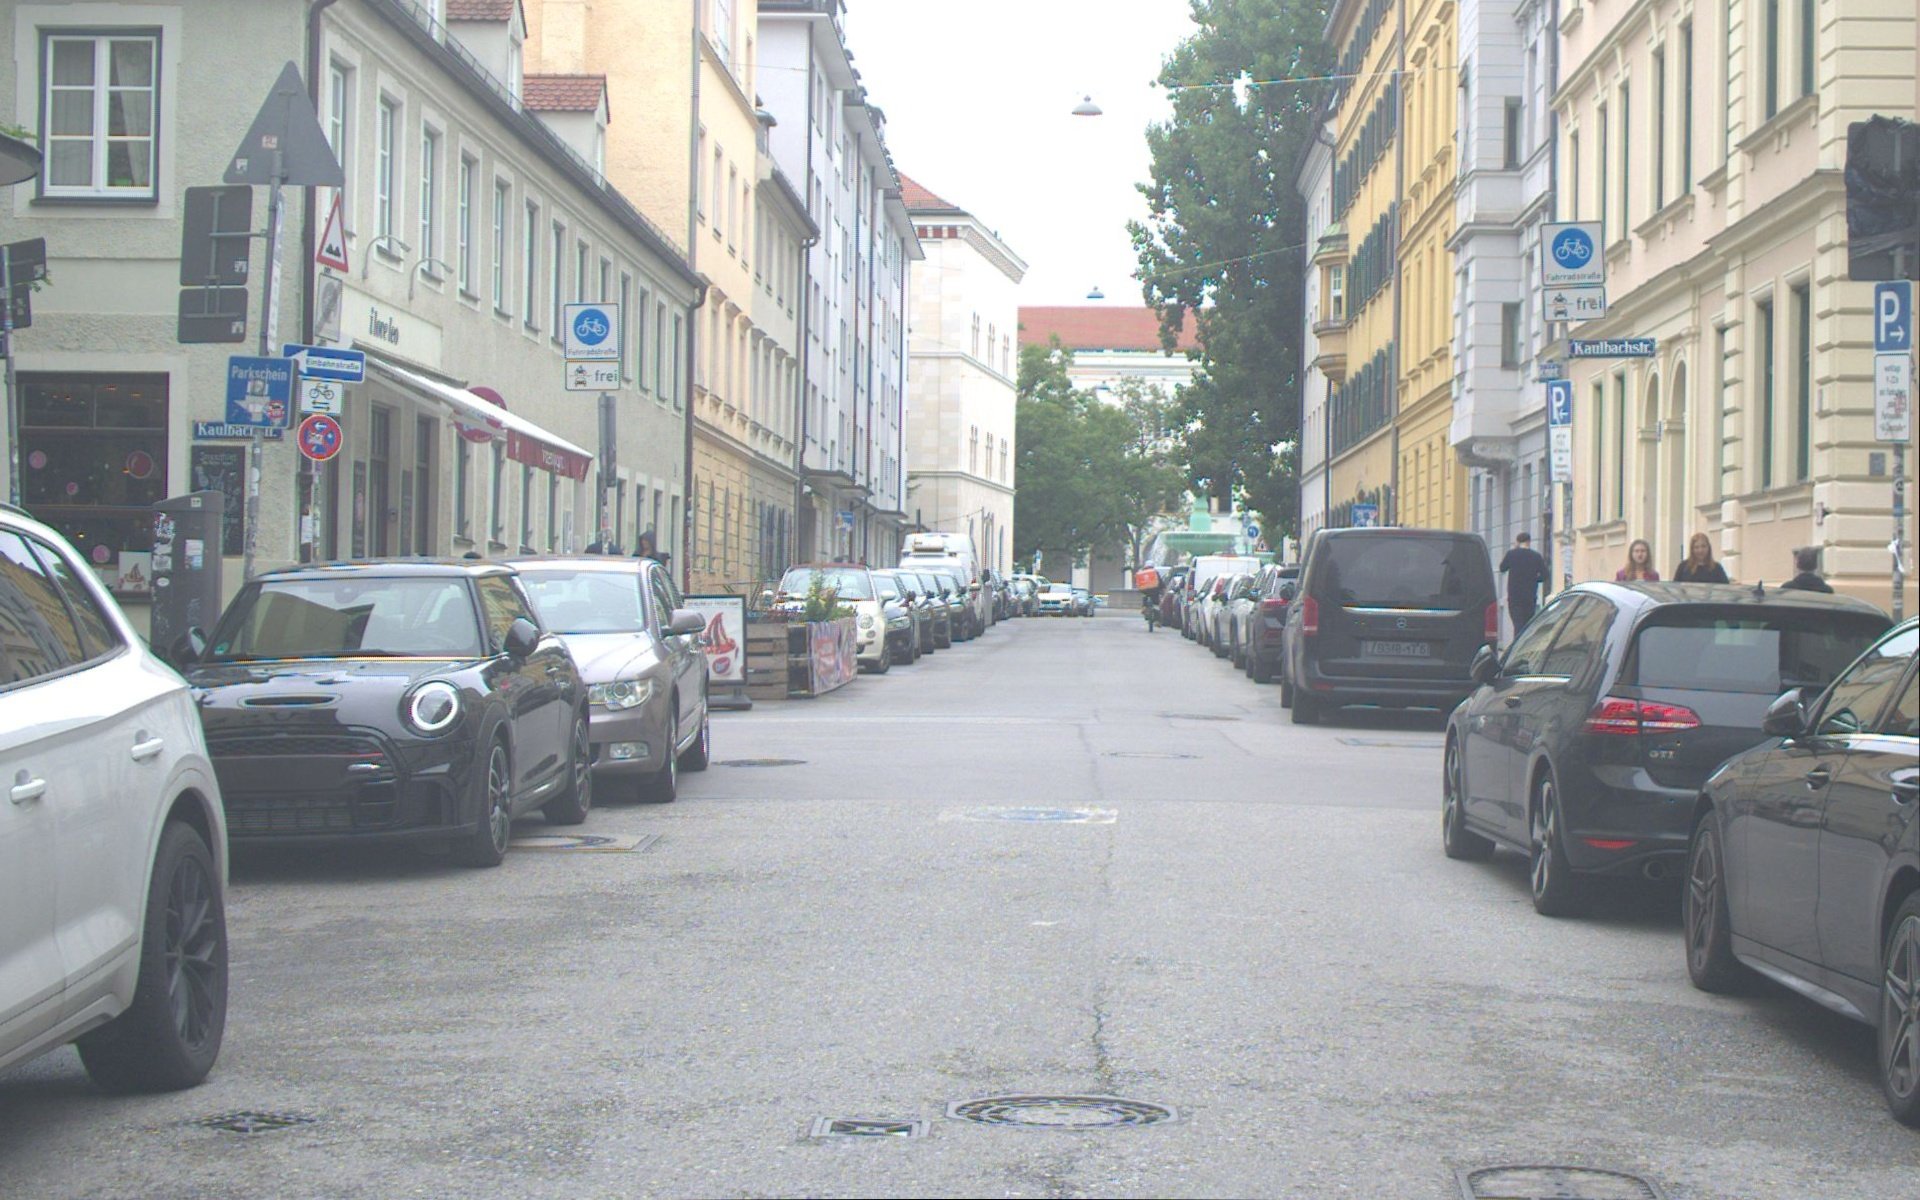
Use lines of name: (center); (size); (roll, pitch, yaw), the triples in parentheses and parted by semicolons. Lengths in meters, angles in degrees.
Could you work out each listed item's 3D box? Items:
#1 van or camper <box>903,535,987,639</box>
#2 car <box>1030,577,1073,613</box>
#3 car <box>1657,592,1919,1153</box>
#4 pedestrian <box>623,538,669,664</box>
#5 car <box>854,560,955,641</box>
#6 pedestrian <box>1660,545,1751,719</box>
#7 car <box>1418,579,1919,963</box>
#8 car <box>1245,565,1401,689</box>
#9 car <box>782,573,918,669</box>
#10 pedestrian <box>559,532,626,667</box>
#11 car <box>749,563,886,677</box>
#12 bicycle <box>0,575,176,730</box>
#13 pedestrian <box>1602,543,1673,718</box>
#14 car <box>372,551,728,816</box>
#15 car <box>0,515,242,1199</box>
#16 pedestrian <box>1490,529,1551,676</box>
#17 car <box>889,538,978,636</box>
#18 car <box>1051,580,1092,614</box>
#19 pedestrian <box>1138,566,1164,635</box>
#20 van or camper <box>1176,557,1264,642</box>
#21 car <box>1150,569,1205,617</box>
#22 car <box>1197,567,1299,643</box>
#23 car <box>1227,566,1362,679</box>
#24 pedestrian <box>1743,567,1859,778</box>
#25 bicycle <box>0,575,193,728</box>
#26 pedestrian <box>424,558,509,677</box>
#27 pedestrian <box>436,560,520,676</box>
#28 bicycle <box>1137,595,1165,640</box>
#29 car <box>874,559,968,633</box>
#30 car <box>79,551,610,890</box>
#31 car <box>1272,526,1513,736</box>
van or camper: (-0.317, -0.292, 79.005); (1.754, 2.273, 5.273); (1, 0, 1)
car: (4.145, -0.229, 155.162); (1.707, 1.576, 3.862); (0, 0, 5)
car: (3.396, 0.762, 10.396); (1.646, 1.420, 4.509); (3, 1, 1)
pedestrian: (-4.472, 0.027, 49.012); (0.528, 1.776, 0.877); (1, -1, 3)
car: (-1.045, -0.019, 63.745); (1.816, 1.437, 4.132); (0, 1, -1)
pedestrian: (7.030, 0.307, 32.438); (0.659, 1.615, 0.979); (1, -1, 1)
car: (3.282, 0.685, 15.969); (1.675, 1.420, 4.204); (3, 1, 0)
car: (4.733, 0.334, 45.252); (1.755, 1.516, 4.274); (1, 0, 3)
car: (-1.642, 0.290, 52.690); (1.798, 1.335, 4.685); (1, 1, 1)
pedestrian: (-5.206, -0.005, 48.784); (0.822, 1.891, 0.827); (1, -1, 1)
car: (-1.933, 0.251, 47.601); (1.754, 1.470, 3.714); (2, 0, -1)
bicycle: (-6.594, 0.357, 24.676); (1.818, 1.031, 0.392); (3, 1, 5)
pedestrian: (6.396, 0.292, 32.473); (0.472, 1.619, 1.069); (1, -1, 1)
car: (-2.458, 0.440, 21.688); (1.679, 1.466, 4.950); (0, 1, 0)
car: (-3.030, 0.623, 7.592); (1.803, 1.578, 4.338); (-1, 2, 2)
pedestrian: (7.693, 0.039, 47.197); (0.669, 1.974, 0.708); (-2, -1, 3)
car: (-0.587, -0.275, 73.608); (1.754, 1.988, 4.626); (1, 0, -2)
car: (5.230, -0.126, 161.251); (1.707, 1.576, 3.862); (0, 0, 5)
pedestrian: (4.736, 0.018, 85.300); (0.642, 1.708, 0.842); (1, -1, 3)
van or camper: (5.947, -0.023, 79.048); (1.834, 1.865, 5.078); (1, 0, 2)
car: (7.558, -0.239, 119.690); (1.812, 1.609, 4.155); (1, 0, 3)
car: (5.780, 0.093, 69.333); (1.708, 1.449, 4.096); (1, 0, 0)
car: (4.935, 0.310, 51.160); (1.743, 1.578, 4.466); (1, 0, 3)
pedestrian: (6.948, 0.598, 28.438); (0.719, 1.711, 1.004); (1, -1, 1)
bicycle: (-6.561, 0.364, 25.079); (1.818, 1.031, 0.392); (3, 1, 5)
pedestrian: (-5.437, 0.198, 37.901); (0.803, 1.285, 0.693); (1, -1, 3)
pedestrian: (-5.411, 0.201, 38.626); (0.803, 1.286, 0.693); (1, -1, 3)
bicycle: (4.730, 0.446, 85.275); (0.675, 1.091, 1.760); (1, -1, 3)
car: (-0.750, -0.079, 68.704); (1.754, 1.404, 4.103); (1, 0, 1)
car: (-2.889, 0.504, 17.006); (1.679, 1.466, 4.097); (0, 1, 3)
car: (4.173, 0.260, 33.925); (1.998, 1.858, 5.252); (1, 1, 4)
